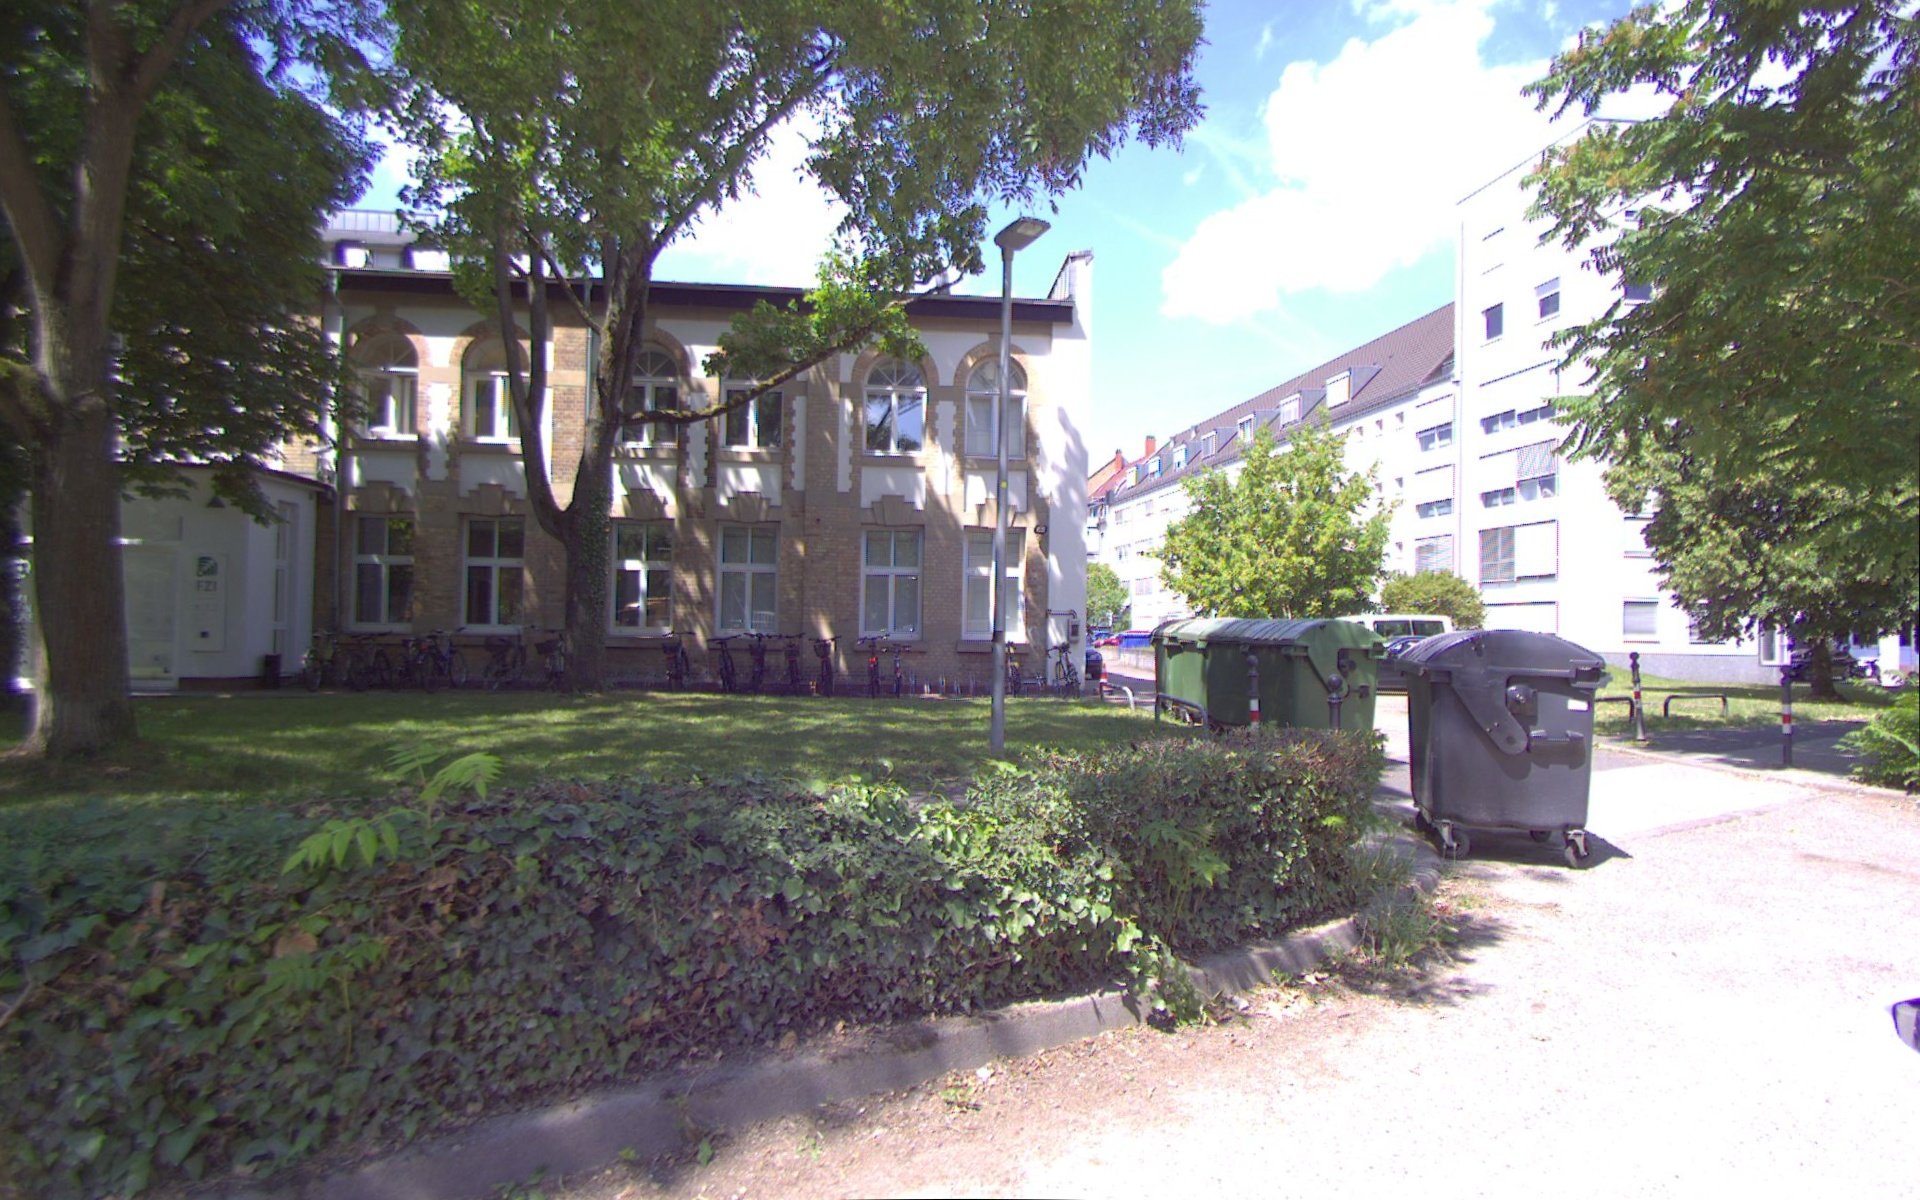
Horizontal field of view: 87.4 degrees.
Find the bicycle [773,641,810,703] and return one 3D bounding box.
[{"bbox_3d":[-3.085,1.292,18.564,0.596,1.025,2.257,1,-1,-8],"label":"bicycle"}]

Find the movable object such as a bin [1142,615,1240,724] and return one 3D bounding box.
[{"bbox_3d":[3.331,0.983,14.609,1.027,1.499,1.409,0,-1,-4],"label":"movable object such as a bin"}]

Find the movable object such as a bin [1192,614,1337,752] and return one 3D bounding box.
[{"bbox_3d":[3.513,0.922,11.714,1.078,1.499,1.356,1,-1,-15],"label":"movable object such as a bin"}]

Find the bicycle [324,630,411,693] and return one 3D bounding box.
[{"bbox_3d":[-10.495,1.056,17.876,0.621,1.025,2.254,1,-1,-12],"label":"bicycle"}]

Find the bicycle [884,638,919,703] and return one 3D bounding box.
[{"bbox_3d":[-1.084,1.290,18.827,0.595,1.096,2.259,1,-1,-3],"label":"bicycle"}]

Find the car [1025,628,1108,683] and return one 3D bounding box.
[{"bbox_3d":[3.059,1.595,29.757,1.726,1.449,4.384,1,-1,-4],"label":"car"}]

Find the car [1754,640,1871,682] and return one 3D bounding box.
[{"bbox_3d":[35.174,2.509,41.501,3.559,1.642,1.672,1,-1,-4],"label":"car"}]

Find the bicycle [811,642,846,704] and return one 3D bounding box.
[{"bbox_3d":[-2.441,1.312,18.615,0.596,1.025,2.257,1,-1,-8],"label":"bicycle"}]

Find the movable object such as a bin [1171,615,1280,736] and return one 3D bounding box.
[{"bbox_3d":[3.431,0.952,13.120,1.027,1.499,1.261,0,-1,-4],"label":"movable object such as a bin"}]

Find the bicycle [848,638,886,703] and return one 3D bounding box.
[{"bbox_3d":[-1.715,1.280,18.817,0.595,1.096,2.259,1,-1,-3],"label":"bicycle"}]

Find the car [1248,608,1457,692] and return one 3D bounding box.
[{"bbox_3d":[10.153,1.308,26.208,4.684,2.040,1.999,1,-2,-5],"label":"car"}]

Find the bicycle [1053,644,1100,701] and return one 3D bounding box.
[{"bbox_3d":[2.195,1.350,19.059,0.602,0.971,1.729,1,-1,-3],"label":"bicycle"}]

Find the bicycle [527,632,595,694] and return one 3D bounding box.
[{"bbox_3d":[-7.192,1.105,18.203,0.596,1.025,2.257,1,-1,-8],"label":"bicycle"}]

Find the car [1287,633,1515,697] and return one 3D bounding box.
[{"bbox_3d":[10.173,1.487,23.372,4.538,1.370,1.832,1,-1,-5],"label":"car"}]

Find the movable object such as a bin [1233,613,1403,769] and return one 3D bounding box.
[{"bbox_3d":[3.653,0.895,10.387,1.185,1.499,1.323,1,-1,-8],"label":"movable object such as a bin"}]

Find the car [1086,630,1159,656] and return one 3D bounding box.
[{"bbox_3d":[9.590,2.539,59.413,3.925,1.498,1.803,1,-1,-6],"label":"car"}]

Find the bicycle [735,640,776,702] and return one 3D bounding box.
[{"bbox_3d":[-3.754,1.272,18.566,0.596,1.025,2.257,1,-1,-8],"label":"bicycle"}]

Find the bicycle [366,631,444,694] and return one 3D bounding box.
[{"bbox_3d":[-9.857,1.079,17.919,0.560,1.025,2.255,1,-1,-12],"label":"bicycle"}]

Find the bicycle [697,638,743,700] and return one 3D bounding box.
[{"bbox_3d":[-4.380,1.231,18.469,0.596,1.025,2.257,1,-1,-8],"label":"bicycle"}]

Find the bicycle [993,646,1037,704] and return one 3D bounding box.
[{"bbox_3d":[1.013,1.379,18.961,0.595,0.971,2.259,1,-1,-3],"label":"bicycle"}]

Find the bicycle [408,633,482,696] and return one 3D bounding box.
[{"bbox_3d":[-9.232,1.129,18.081,0.597,1.025,2.255,1,-1,-12],"label":"bicycle"}]

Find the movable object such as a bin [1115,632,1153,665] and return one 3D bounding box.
[{"bbox_3d":[7.192,2.006,41.602,1.317,1.344,1.160,0,-1,-2],"label":"movable object such as a bin"}]

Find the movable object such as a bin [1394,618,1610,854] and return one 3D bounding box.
[{"bbox_3d":[3.583,0.838,6.787,1.094,1.412,1.161,0,-1,18],"label":"movable object such as a bin"}]

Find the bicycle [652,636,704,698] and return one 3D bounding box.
[{"bbox_3d":[-5.113,1.193,18.328,0.596,1.025,2.257,1,-1,-8],"label":"bicycle"}]

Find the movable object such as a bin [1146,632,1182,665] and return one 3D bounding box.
[{"bbox_3d":[8.461,2.011,41.731,1.196,1.344,1.160,0,-1,-2],"label":"movable object such as a bin"}]

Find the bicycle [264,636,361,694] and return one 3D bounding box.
[{"bbox_3d":[-11.255,1.110,17.554,0.644,0.902,2.255,1,-1,-12],"label":"bicycle"}]

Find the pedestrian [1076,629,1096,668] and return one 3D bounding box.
[{"bbox_3d":[5.737,2.202,45.659,0.745,1.778,0.751,1,-1,-4],"label":"pedestrian"}]

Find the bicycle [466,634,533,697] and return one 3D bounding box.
[{"bbox_3d":[-8.273,1.143,18.133,0.597,1.025,2.255,1,-1,-12],"label":"bicycle"}]
